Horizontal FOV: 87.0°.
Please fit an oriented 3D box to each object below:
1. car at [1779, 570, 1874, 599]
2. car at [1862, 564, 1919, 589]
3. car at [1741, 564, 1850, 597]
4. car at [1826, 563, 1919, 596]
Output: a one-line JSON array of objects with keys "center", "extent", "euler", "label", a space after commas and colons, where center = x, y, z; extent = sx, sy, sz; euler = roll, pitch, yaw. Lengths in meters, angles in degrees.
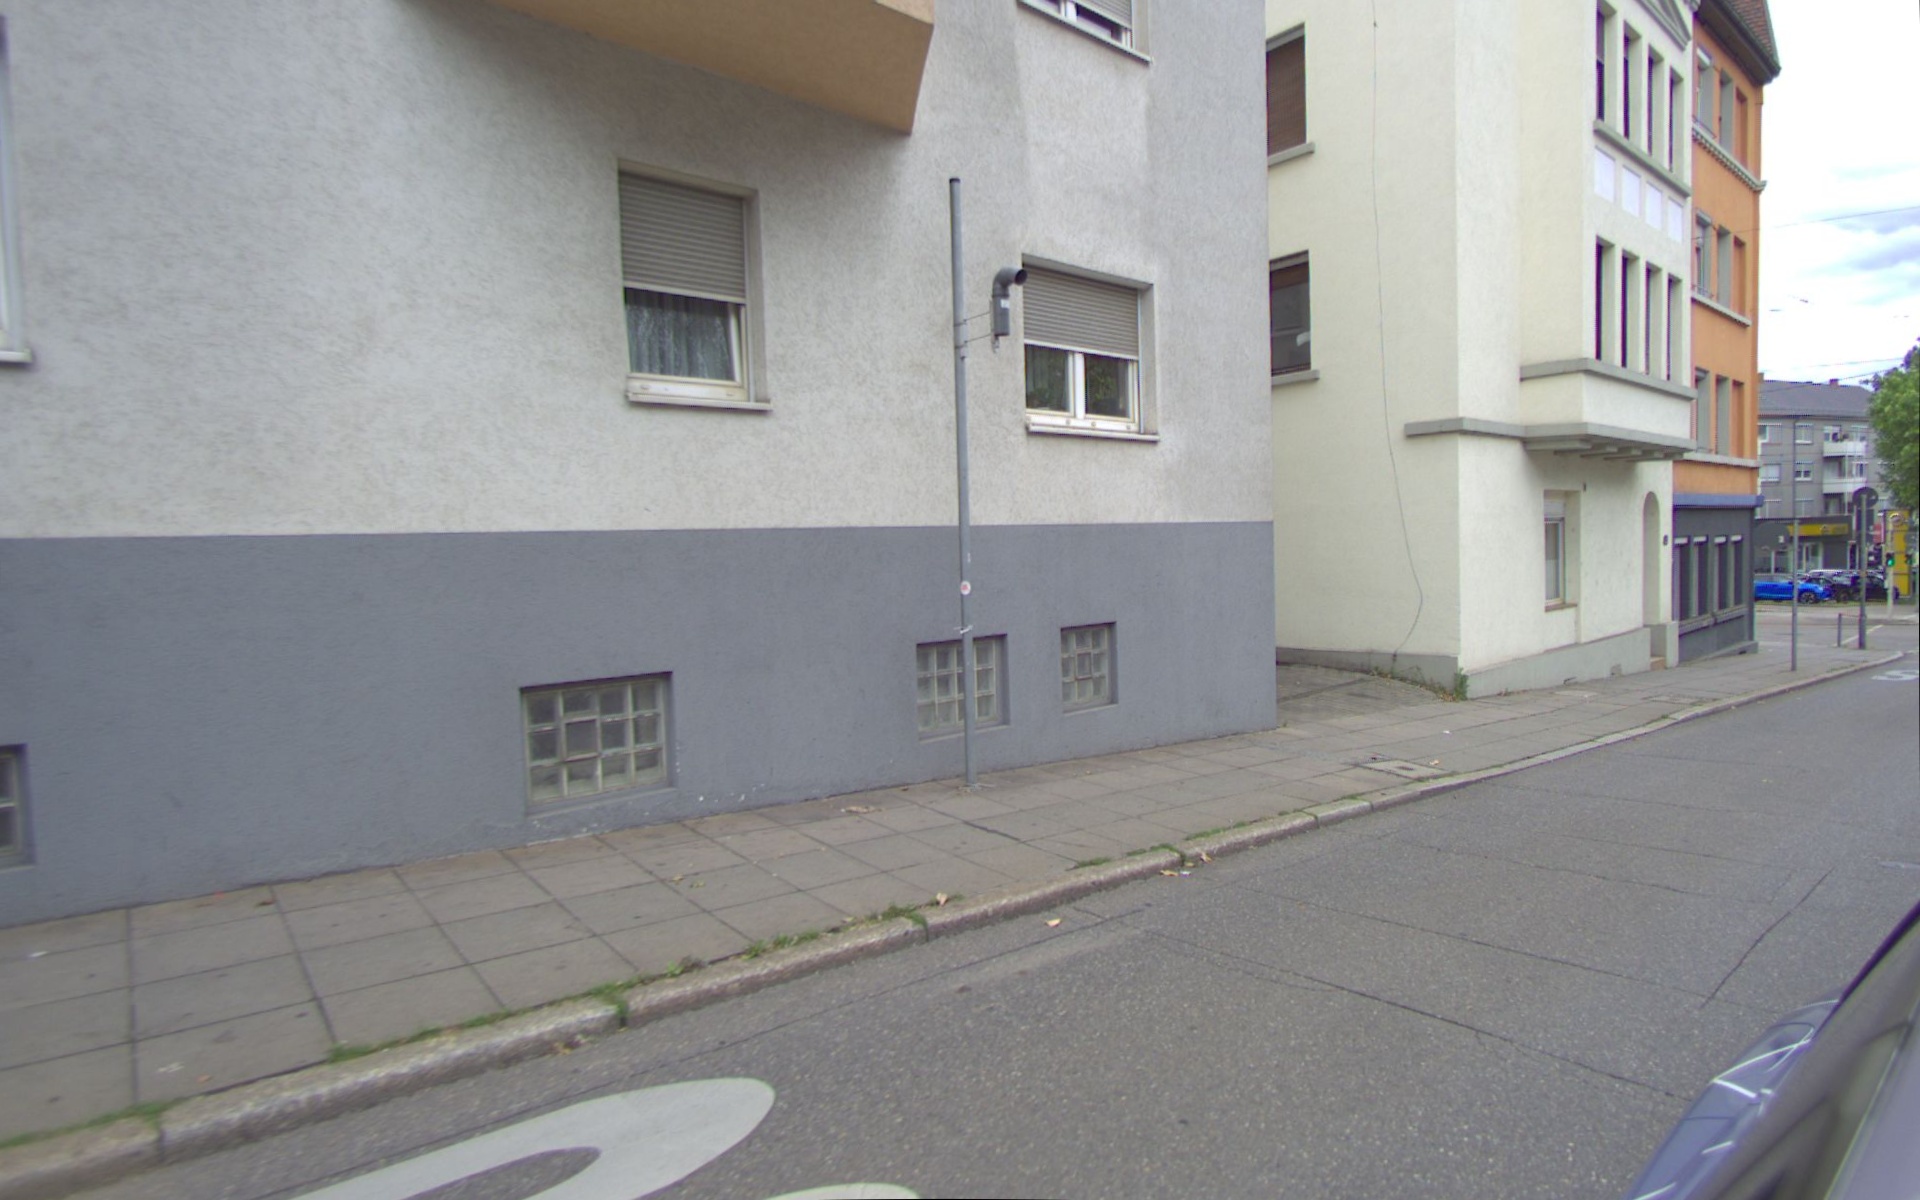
[{"center": [49.106, -0.899, 57.415], "extent": [3.919, 1.495, 1.833], "euler": [1, 2, -7], "label": "car"}, {"center": [61.668, -1.560, 66.248], "extent": [3.569, 1.572, 1.610], "euler": [1, 2, 23], "label": "car"}, {"center": [45.422, -1.079, 55.117], "extent": [1.796, 1.596, 4.257], "euler": [0, 3, -39], "label": "car"}, {"center": [54.158, -1.221, 60.028], "extent": [4.084, 1.625, 1.835], "euler": [1, 7, -7], "label": "car"}]
